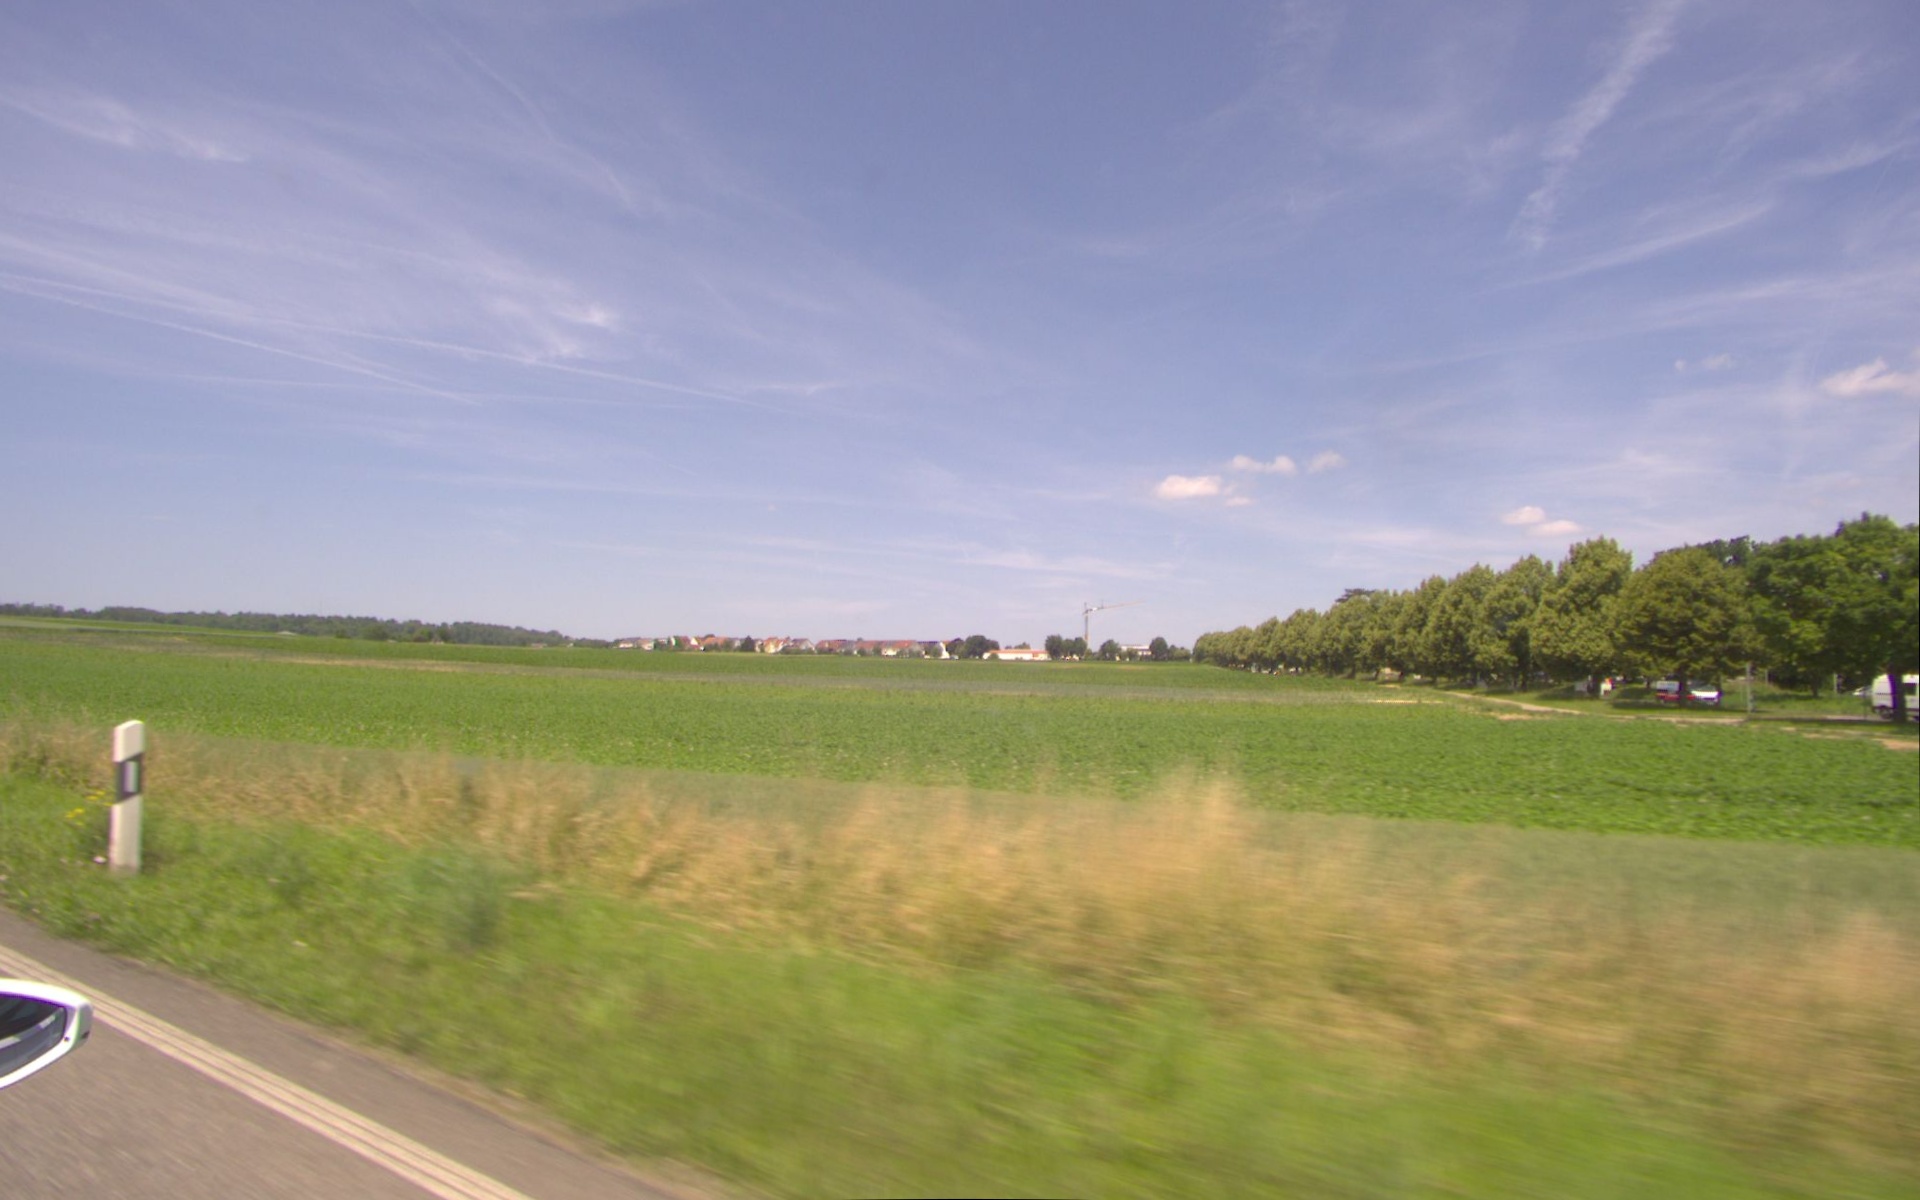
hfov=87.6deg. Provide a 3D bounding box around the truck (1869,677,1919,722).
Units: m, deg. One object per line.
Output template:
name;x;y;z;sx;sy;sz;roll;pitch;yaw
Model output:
truck;52.447;5.372;53.929;2.013;2.394;5.645;-1;-4;4

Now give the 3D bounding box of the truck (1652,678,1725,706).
truck;55.008;6.925;75.711;1.766;1.999;5.482;-1;-5;4

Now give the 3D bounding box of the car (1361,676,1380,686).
car;69.813;13.725;170.444;1.961;1.668;4.004;-1;-4;7
